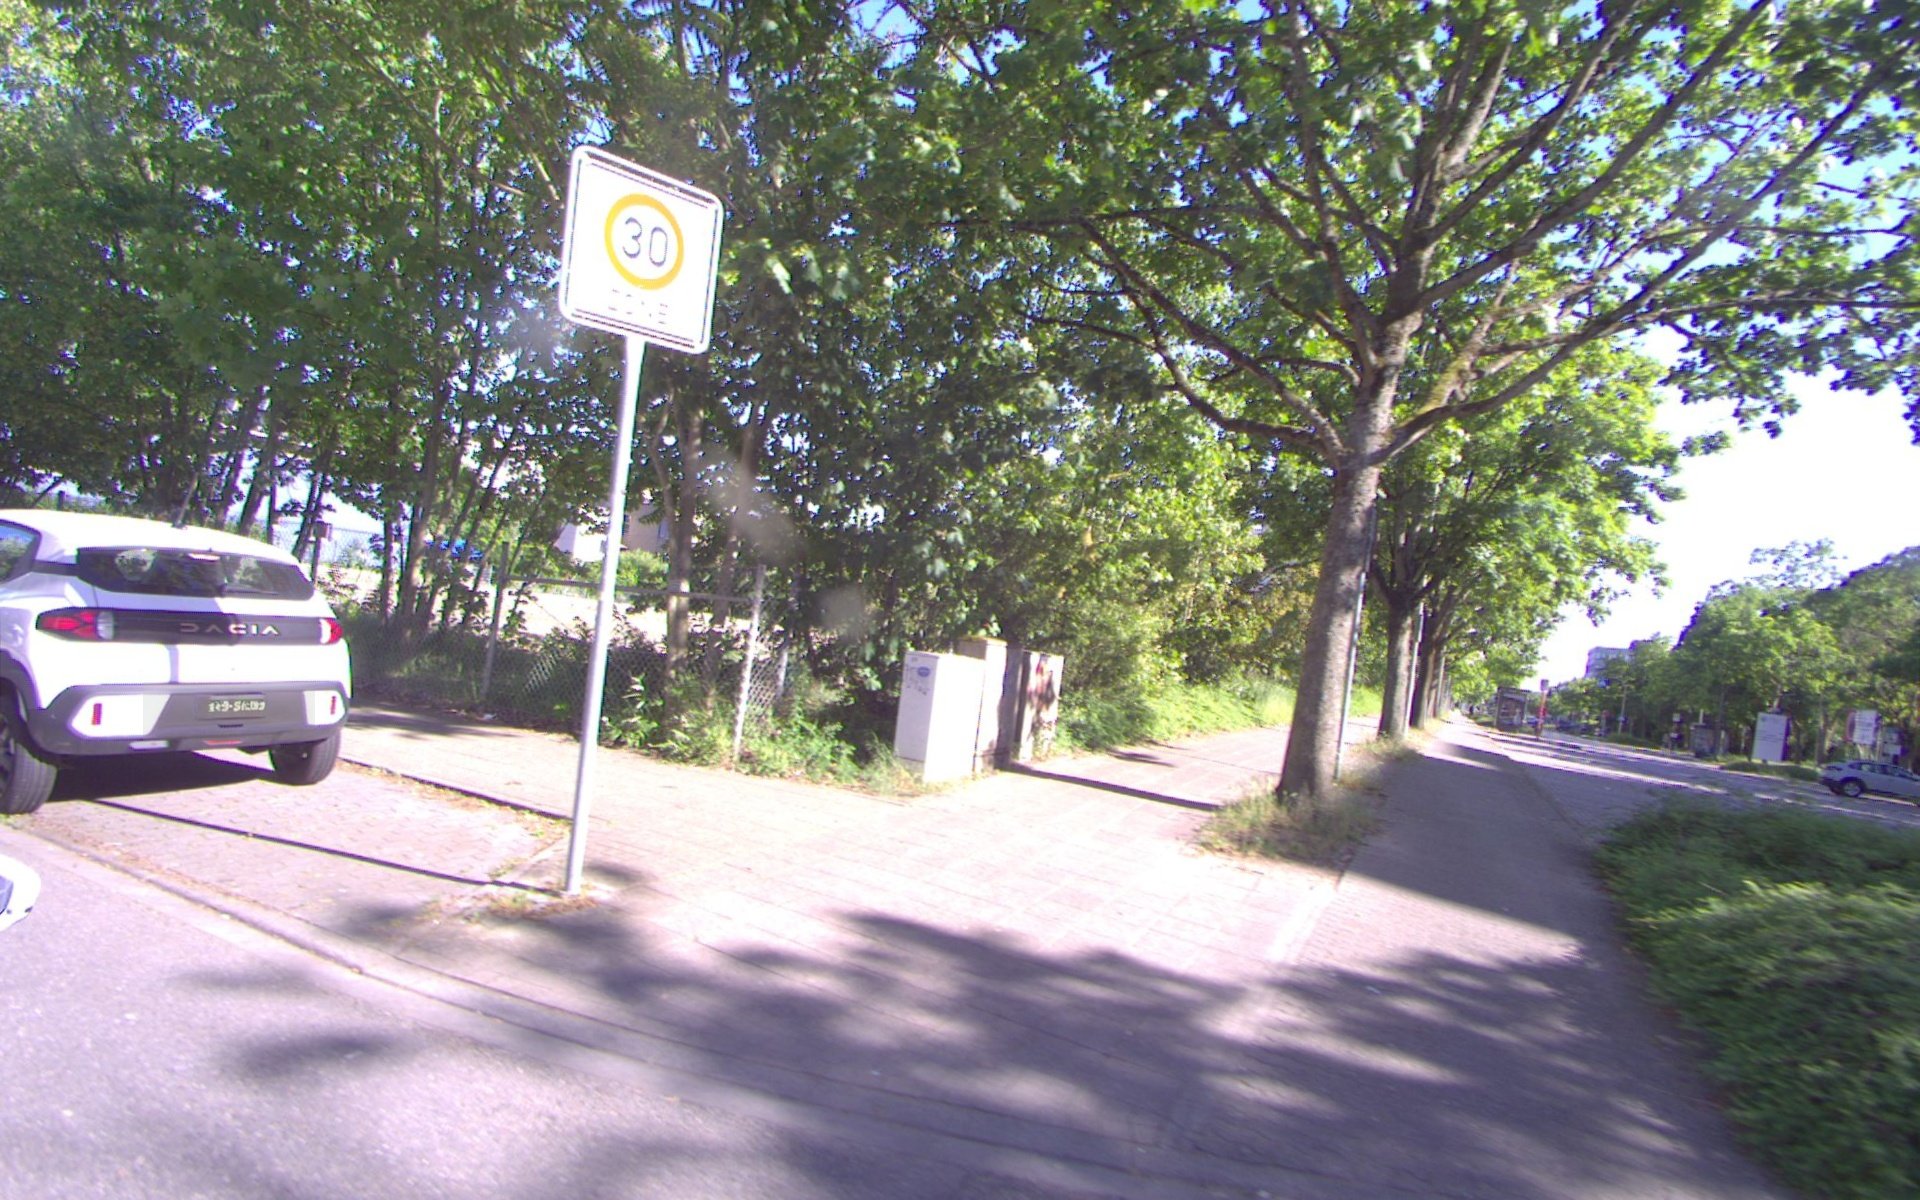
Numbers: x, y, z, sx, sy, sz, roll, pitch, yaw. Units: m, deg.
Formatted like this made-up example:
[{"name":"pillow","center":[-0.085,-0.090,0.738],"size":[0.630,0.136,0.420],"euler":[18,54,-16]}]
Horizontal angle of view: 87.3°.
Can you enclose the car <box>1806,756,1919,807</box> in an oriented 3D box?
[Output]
[{"name":"car","center":[36.387,7.202,39.737],"size":[4.105,1.444,1.999],"euler":[5,-3,27]}]

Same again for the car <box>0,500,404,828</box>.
[{"name":"car","center":[-5.525,0.207,6.243],"size":[4.021,1.467,1.624],"euler":[6,-2,29]}]

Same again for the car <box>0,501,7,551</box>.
[{"name":"car","center":[-10.908,-0.444,9.238],"size":[3.998,1.489,1.830],"euler":[7,-2,28]}]
